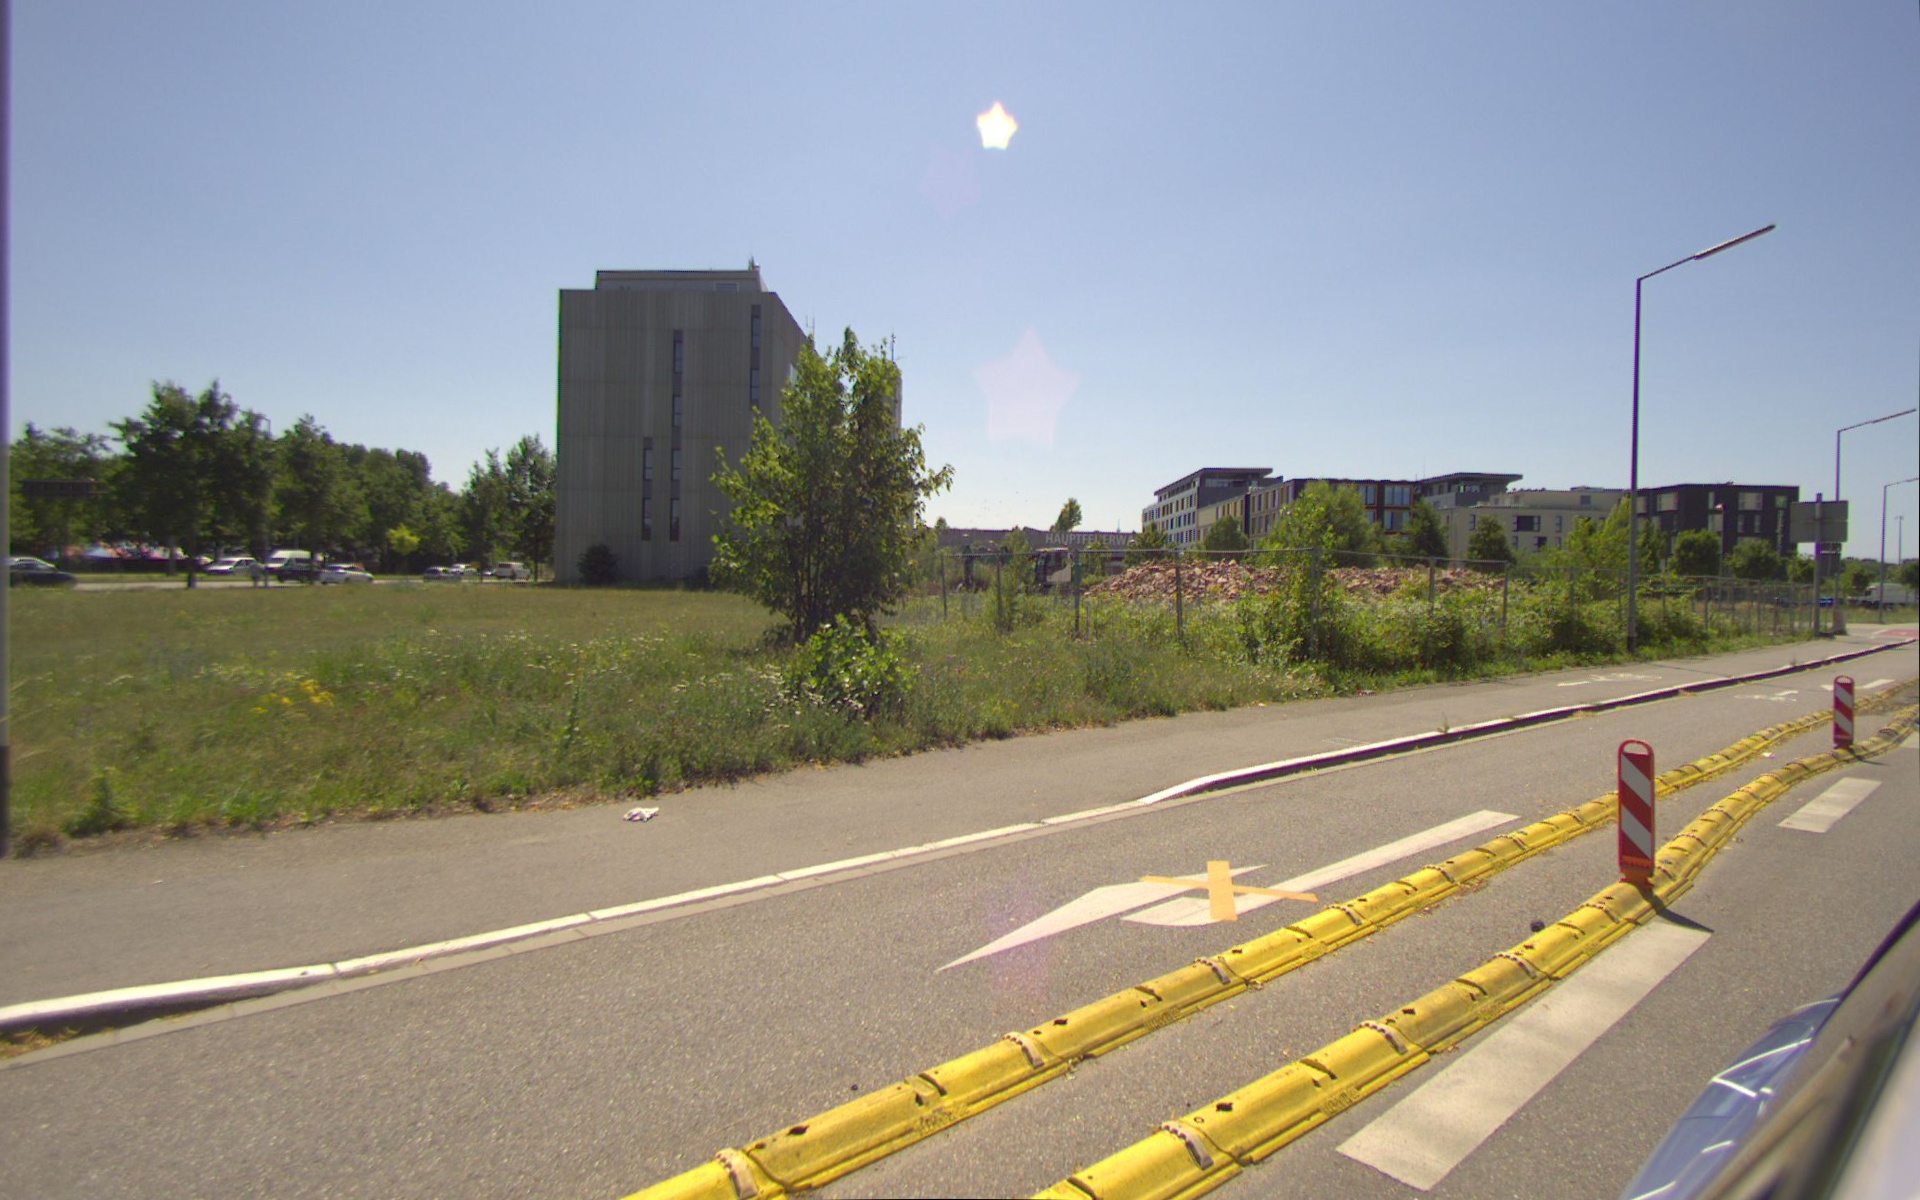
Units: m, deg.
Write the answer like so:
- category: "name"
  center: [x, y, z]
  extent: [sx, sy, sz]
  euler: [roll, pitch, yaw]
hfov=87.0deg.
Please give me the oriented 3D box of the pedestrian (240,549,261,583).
- category: "pedestrian"
  center: [-34.020, -1.616, 48.509]
  extent: [0.489, 1.583, 0.737]
  euler: [0, 0, -1]

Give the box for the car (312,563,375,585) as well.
- category: "car"
  center: [-42.403, -1.777, 69.687]
  extent: [1.604, 1.462, 4.015]
  euler: [0, 1, 6]

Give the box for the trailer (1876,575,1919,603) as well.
- category: "trailer"
  center: [119.655, -1.341, 126.410]
  extent: [8.030, 3.390, 1.998]
  euler: [1, 1, 4]

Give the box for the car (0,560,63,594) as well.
- category: "car"
  center: [-58.722, -1.410, 62.525]
  extent: [1.963, 2.039, 5.083]
  euler: [0, 1, 2]

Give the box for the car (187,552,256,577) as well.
- category: "car"
  center: [-62.295, -2.973, 85.492]
  extent: [1.963, 2.039, 5.083]
  euler: [0, 1, 2]

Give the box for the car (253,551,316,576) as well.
- category: "car"
  center: [-58.475, -3.134, 87.760]
  extent: [1.963, 2.039, 5.083]
  euler: [0, 1, 2]

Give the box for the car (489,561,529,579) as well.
- category: "car"
  center: [-47.818, -3.151, 107.448]
  extent: [1.963, 1.873, 4.985]
  euler: [0, 1, 2]

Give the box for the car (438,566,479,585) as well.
- category: "car"
  center: [-57.598, -2.789, 116.341]
  extent: [1.963, 2.039, 5.083]
  euler: [0, 1, 2]

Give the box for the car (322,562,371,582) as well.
- category: "car"
  center: [-59.925, -2.710, 98.991]
  extent: [1.963, 1.873, 4.603]
  euler: [0, 1, 2]

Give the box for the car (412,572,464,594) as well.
- category: "car"
  center: [-42.806, -1.384, 83.112]
  extent: [1.961, 1.727, 4.942]
  euler: [0, 1, -3]

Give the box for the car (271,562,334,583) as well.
- category: "car"
  center: [-46.764, -1.934, 72.028]
  extent: [1.961, 1.425, 4.001]
  euler: [0, 1, -1]

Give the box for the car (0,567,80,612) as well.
- category: "car"
  center: [-44.546, -0.516, 47.999]
  extent: [1.965, 2.039, 3.994]
  euler: [0, 1, 6]

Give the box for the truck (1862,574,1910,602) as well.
- category: "truck"
  center: [115.859, -1.460, 126.708]
  extent: [3.928, 3.377, 1.998]
  euler: [1, 1, 4]

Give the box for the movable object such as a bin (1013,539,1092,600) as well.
- category: "movable object such as a bin"
  center: [4.927, -1.585, 53.958]
  extent: [3.619, 3.101, 2.207]
  euler: [0, 1, -35]
